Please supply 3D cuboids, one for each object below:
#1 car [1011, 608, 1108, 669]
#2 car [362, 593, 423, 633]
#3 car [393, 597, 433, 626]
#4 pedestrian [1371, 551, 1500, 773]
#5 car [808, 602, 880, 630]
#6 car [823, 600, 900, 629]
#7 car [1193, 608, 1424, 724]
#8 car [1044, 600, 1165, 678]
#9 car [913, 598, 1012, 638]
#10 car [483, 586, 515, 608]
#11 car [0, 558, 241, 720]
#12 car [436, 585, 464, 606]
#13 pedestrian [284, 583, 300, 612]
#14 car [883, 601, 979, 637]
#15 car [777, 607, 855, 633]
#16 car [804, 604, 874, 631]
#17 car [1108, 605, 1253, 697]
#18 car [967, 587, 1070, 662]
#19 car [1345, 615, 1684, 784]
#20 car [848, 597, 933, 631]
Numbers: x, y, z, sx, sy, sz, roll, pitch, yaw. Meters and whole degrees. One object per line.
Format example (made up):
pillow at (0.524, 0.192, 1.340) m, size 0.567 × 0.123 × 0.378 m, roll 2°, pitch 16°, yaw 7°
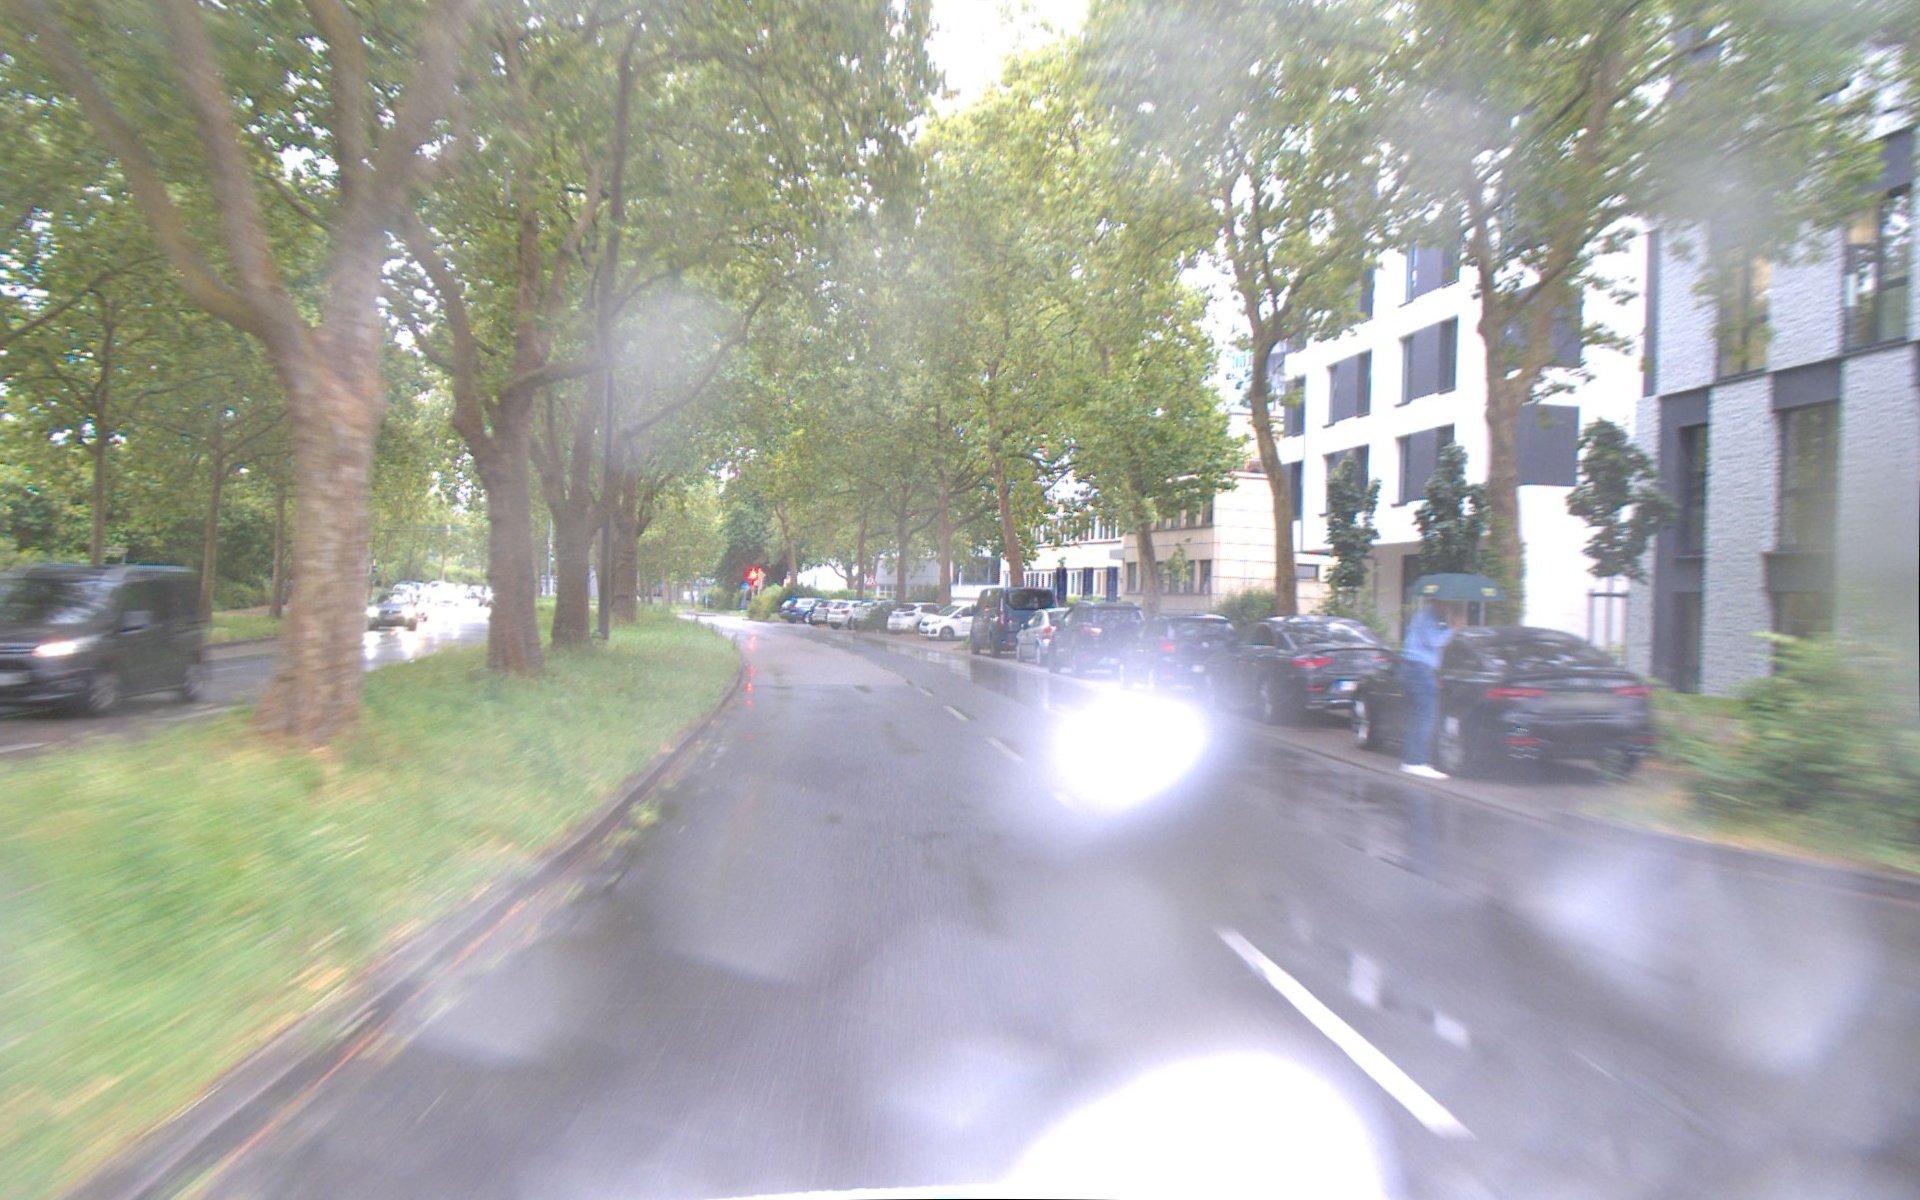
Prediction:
car at (2.554, 0.984, 43.600) m, size 1.711 × 1.495 × 4.298 m, roll 1°, pitch 0°, yaw -8°
car at (-23.719, 0.531, 69.286) m, size 1.711 × 1.588 × 4.358 m, roll 1°, pitch 0°, yaw -10°
car at (-28.611, 0.587, 86.558) m, size 1.714 × 1.485 × 3.826 m, roll 2°, pitch 0°, yaw -15°
pedestrian at (4.569, 0.579, 15.879) m, size 0.892 × 2.049 × 0.820 m, roll 2°, pitch -1°, yaw -42°
car at (-6.313, 0.885, 90.342) m, size 3.664 × 1.441 × 1.747 m, roll 2°, pitch -1°, yaw -44°
car at (-5.032, 0.748, 84.962) m, size 3.658 × 1.441 × 1.724 m, roll 2°, pitch -1°, yaw -40°
car at (4.835, 0.864, 23.729) m, size 1.710 × 1.453 × 5.096 m, roll 1°, pitch 0°, yaw -6°
car at (3.136, 0.830, 36.807) m, size 1.711 × 1.594 × 4.363 m, roll 1°, pitch 0°, yaw -8°
car at (0.103, 0.715, 66.780) m, size 3.593 × 1.531 × 1.733 m, roll 1°, pitch 1°, yaw -28°
car at (-36.117, -0.245, 129.541) m, size 1.721 × 1.679 × 4.272 m, roll 2°, pitch 0°, yaw -25°
car at (-10.923, 0.434, 20.714) m, size 1.990 × 1.767 × 4.949 m, roll 1°, pitch 0°, yaw -5°
car at (-39.419, -0.346, 127.798) m, size 1.718 × 1.502 × 4.383 m, roll 2°, pitch 0°, yaw -21°
pedestrian at (-39.312, -0.147, 97.355) m, size 0.818 × 1.703 × 0.895 m, roll 1°, pitch -1°, yaw -19°
car at (-1.233, 0.816, 70.964) m, size 4.006 × 1.453 × 1.721 m, roll 2°, pitch -1°, yaw -44°
car at (-8.600, 1.203, 99.092) m, size 4.454 × 1.484 × 1.724 m, roll 2°, pitch -1°, yaw -40°
car at (-6.836, 1.000, 93.577) m, size 3.664 × 1.441 × 1.721 m, roll 2°, pitch -1°, yaw -44°
car at (3.889, 0.868, 29.782) m, size 1.709 × 1.502 × 4.078 m, roll 1°, pitch 0°, yaw -5°
car at (1.642, 0.698, 48.858) m, size 2.081 × 2.064 × 5.517 m, roll 1°, pitch 0°, yaw -8°
car at (5.489, 0.905, 17.108) m, size 1.708 × 1.453 × 4.865 m, roll 1°, pitch 0°, yaw -2°
car at (-3.323, 0.685, 80.047) m, size 1.720 × 1.566 × 4.009 m, roll 1°, pitch -1°, yaw 44°
